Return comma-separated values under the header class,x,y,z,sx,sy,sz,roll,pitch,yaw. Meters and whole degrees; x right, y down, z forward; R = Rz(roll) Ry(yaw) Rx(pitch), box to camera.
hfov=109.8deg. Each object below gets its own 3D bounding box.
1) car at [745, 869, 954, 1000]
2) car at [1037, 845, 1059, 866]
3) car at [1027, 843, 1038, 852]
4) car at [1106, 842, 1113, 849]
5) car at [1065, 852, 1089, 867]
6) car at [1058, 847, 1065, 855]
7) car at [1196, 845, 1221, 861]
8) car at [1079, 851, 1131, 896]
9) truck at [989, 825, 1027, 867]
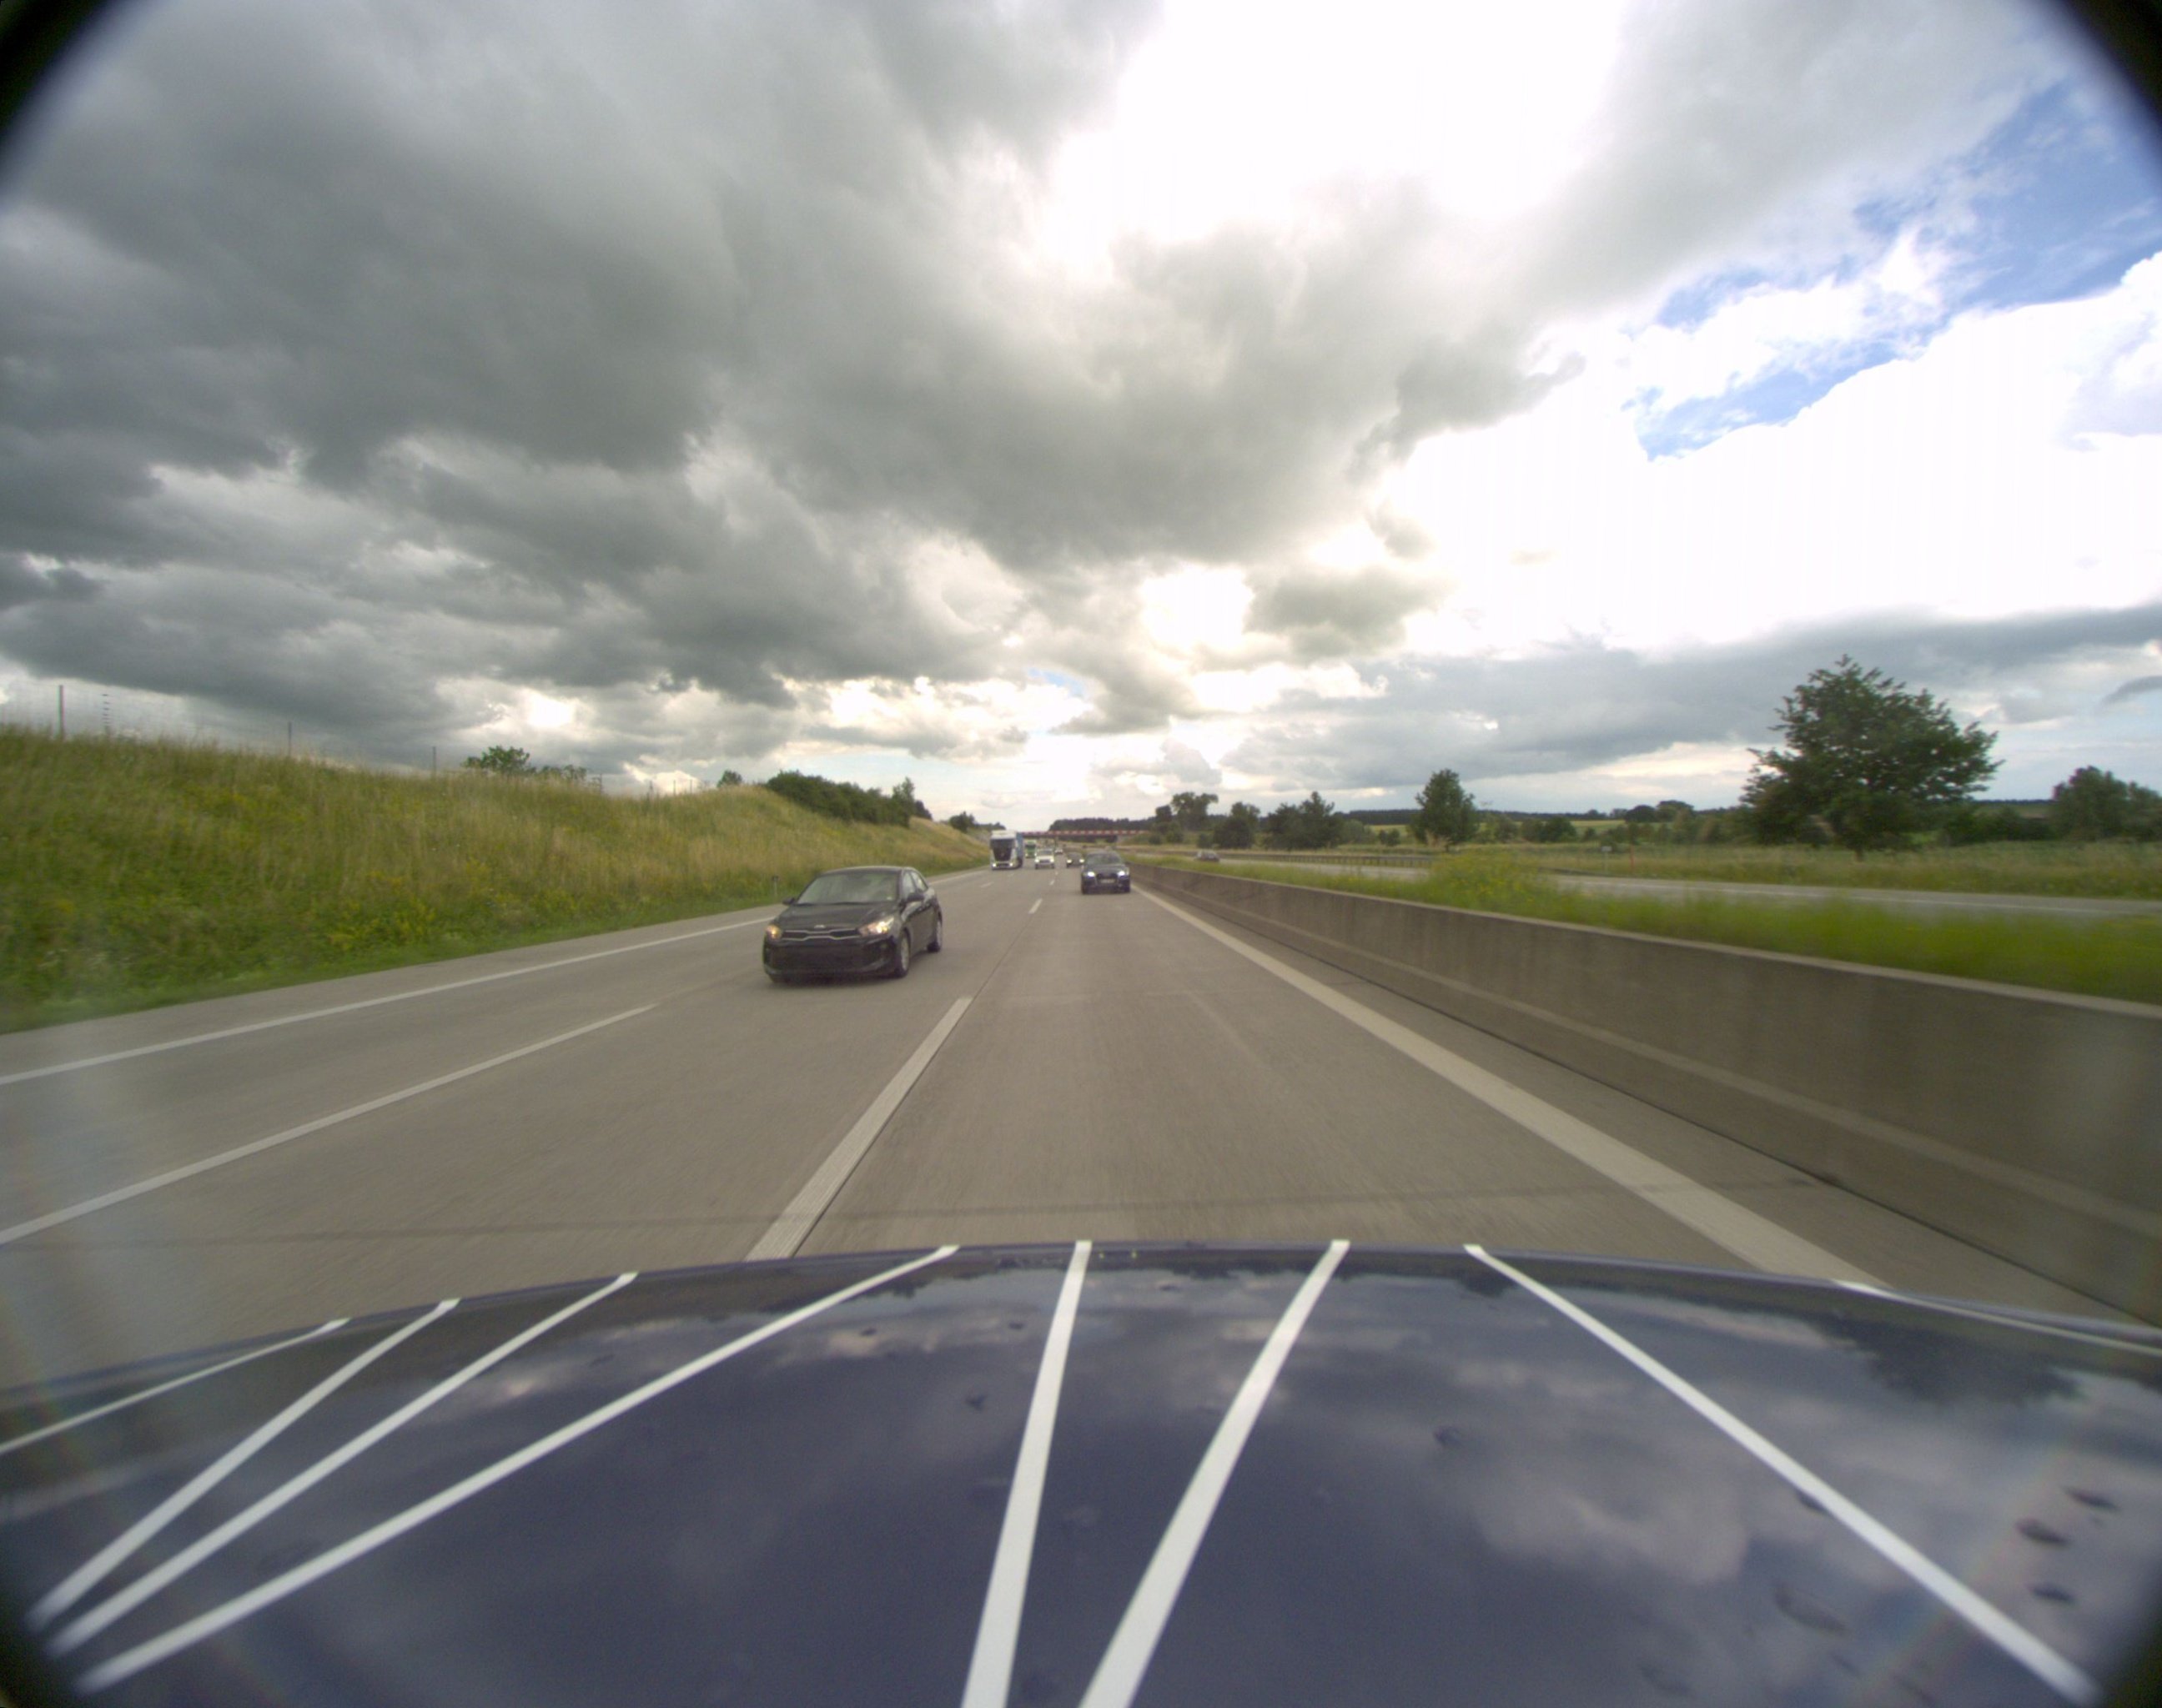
class,x,y,z,sx,sy,sz,roll,pitch,yaw
car,-3.107,1.006,11.083,1.690,1.405,4.000,-2,1,1
car,-3.291,0.146,76.359,1.999,2.002,3.999,-2,0,-2
car,-11.143,-1.572,173.603,2.358,2.002,4.810,-2,1,-2
car,8.914,-2.613,235.777,1.999,2.002,3.999,-2,1,-1
car,-0.358,0.535,77.136,1.939,1.464,4.002,-2,0,5
car,-5.289,-0.785,208.001,1.999,2.002,3.999,-1,1,-1
car,11.864,-0.087,70.835,1.645,1.365,4.098,-2,1,0
car,1.041,0.713,30.265,1.797,1.586,5.158,-2,0,4
truck,-7.612,-0.787,81.135,2.854,4.176,10.709,-2,0,0
